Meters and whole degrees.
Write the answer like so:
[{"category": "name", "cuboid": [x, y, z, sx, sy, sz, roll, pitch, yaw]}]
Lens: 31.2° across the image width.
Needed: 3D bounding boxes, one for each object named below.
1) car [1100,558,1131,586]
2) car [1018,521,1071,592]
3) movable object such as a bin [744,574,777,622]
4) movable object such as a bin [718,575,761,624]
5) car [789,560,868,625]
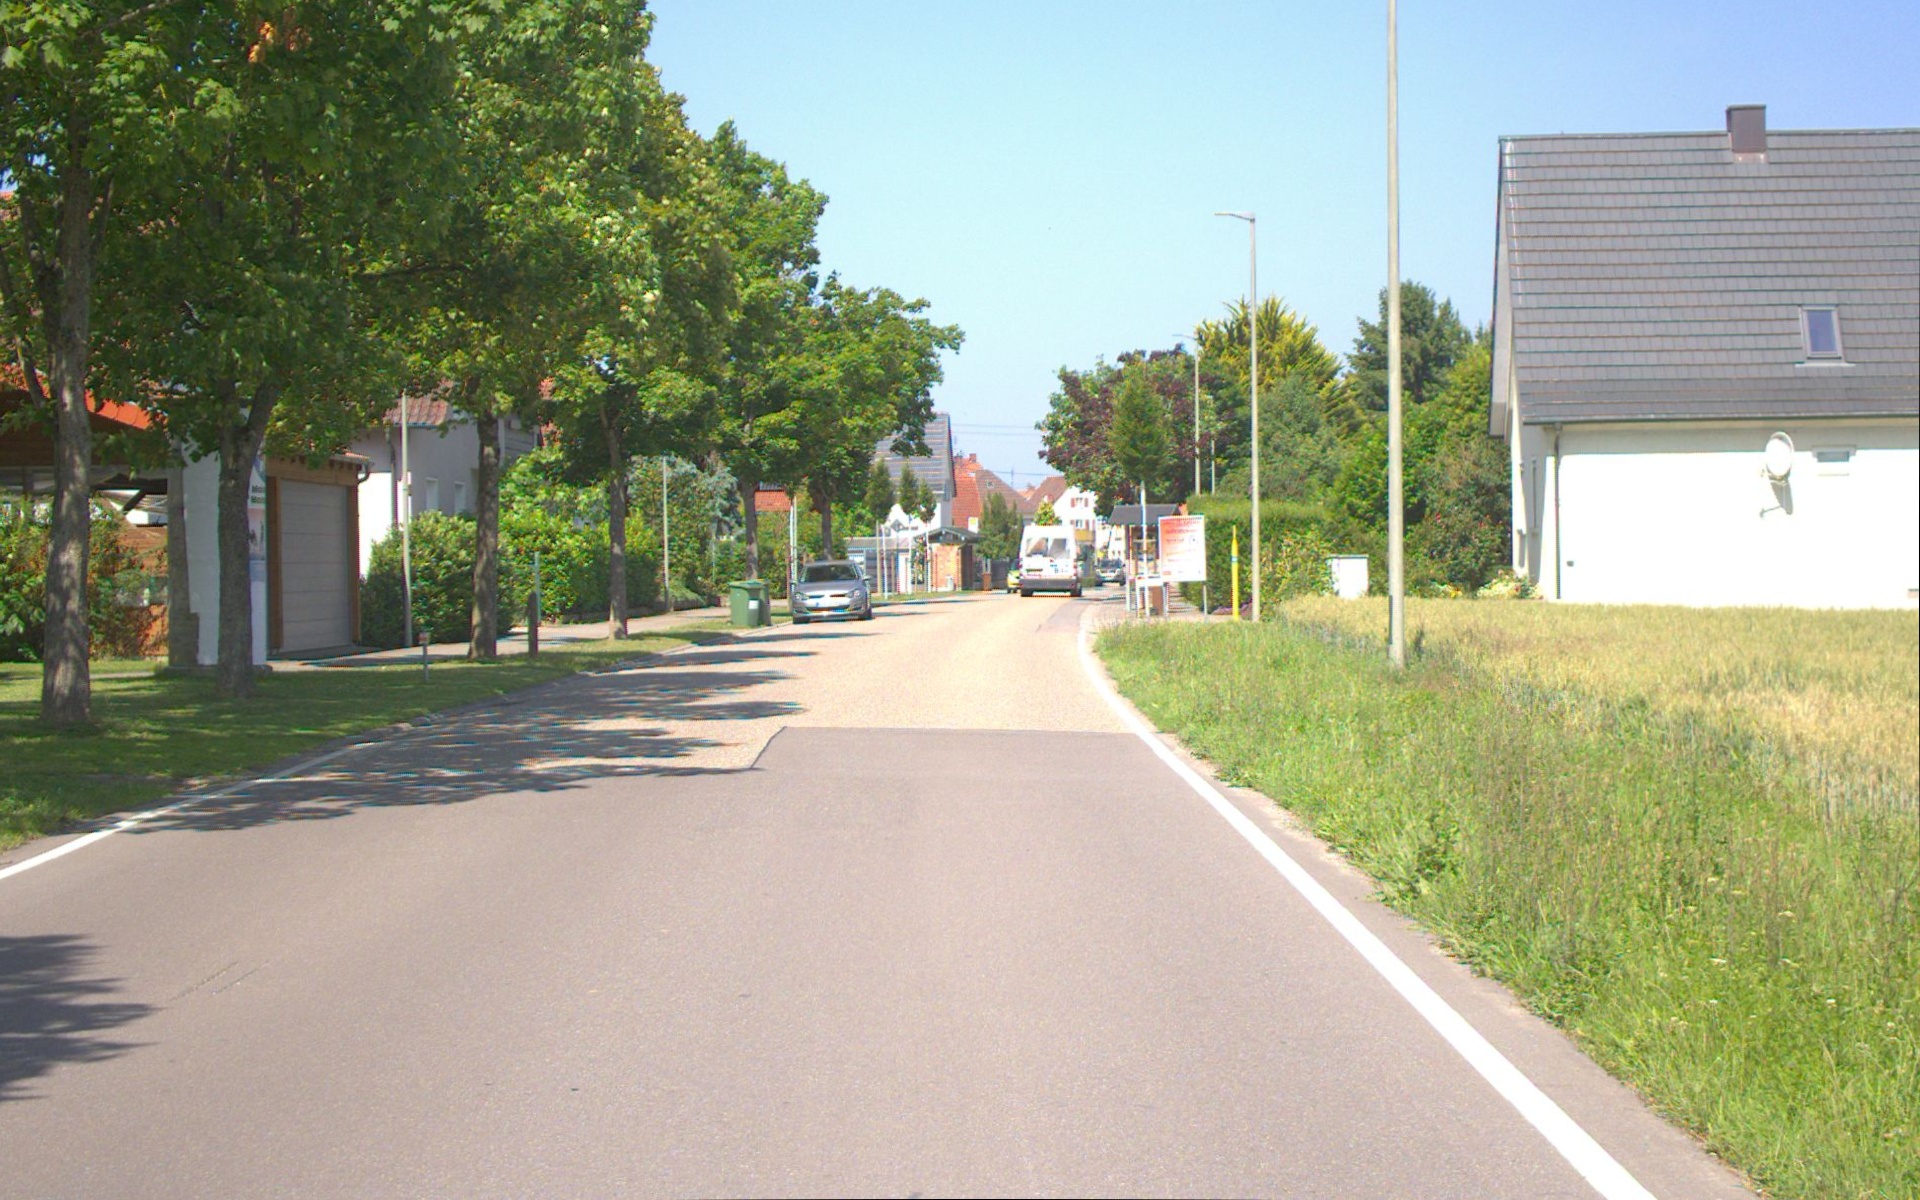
[{"category": "car", "cuboid": [10.035, -1.800, 222.159, 1.835, 1.747, 3.796, -1, 1, 0]}, {"category": "car", "cuboid": [2.995, -1.527, 121.075, 1.738, 2.424, 4.374, -1, 1, 2]}, {"category": "movable object such as a bin", "cuboid": [-4.481, -0.043, 77.171, 0.575, 1.075, 0.598, -1, 0, 15]}, {"category": "movable object such as a bin", "cuboid": [-4.902, -0.005, 76.491, 0.714, 1.075, 0.639, -1, 0, 27]}, {"category": "car", "cuboid": [-3.100, -0.200, 81.861, 1.647, 1.419, 4.080, -3, 1, 0]}]
